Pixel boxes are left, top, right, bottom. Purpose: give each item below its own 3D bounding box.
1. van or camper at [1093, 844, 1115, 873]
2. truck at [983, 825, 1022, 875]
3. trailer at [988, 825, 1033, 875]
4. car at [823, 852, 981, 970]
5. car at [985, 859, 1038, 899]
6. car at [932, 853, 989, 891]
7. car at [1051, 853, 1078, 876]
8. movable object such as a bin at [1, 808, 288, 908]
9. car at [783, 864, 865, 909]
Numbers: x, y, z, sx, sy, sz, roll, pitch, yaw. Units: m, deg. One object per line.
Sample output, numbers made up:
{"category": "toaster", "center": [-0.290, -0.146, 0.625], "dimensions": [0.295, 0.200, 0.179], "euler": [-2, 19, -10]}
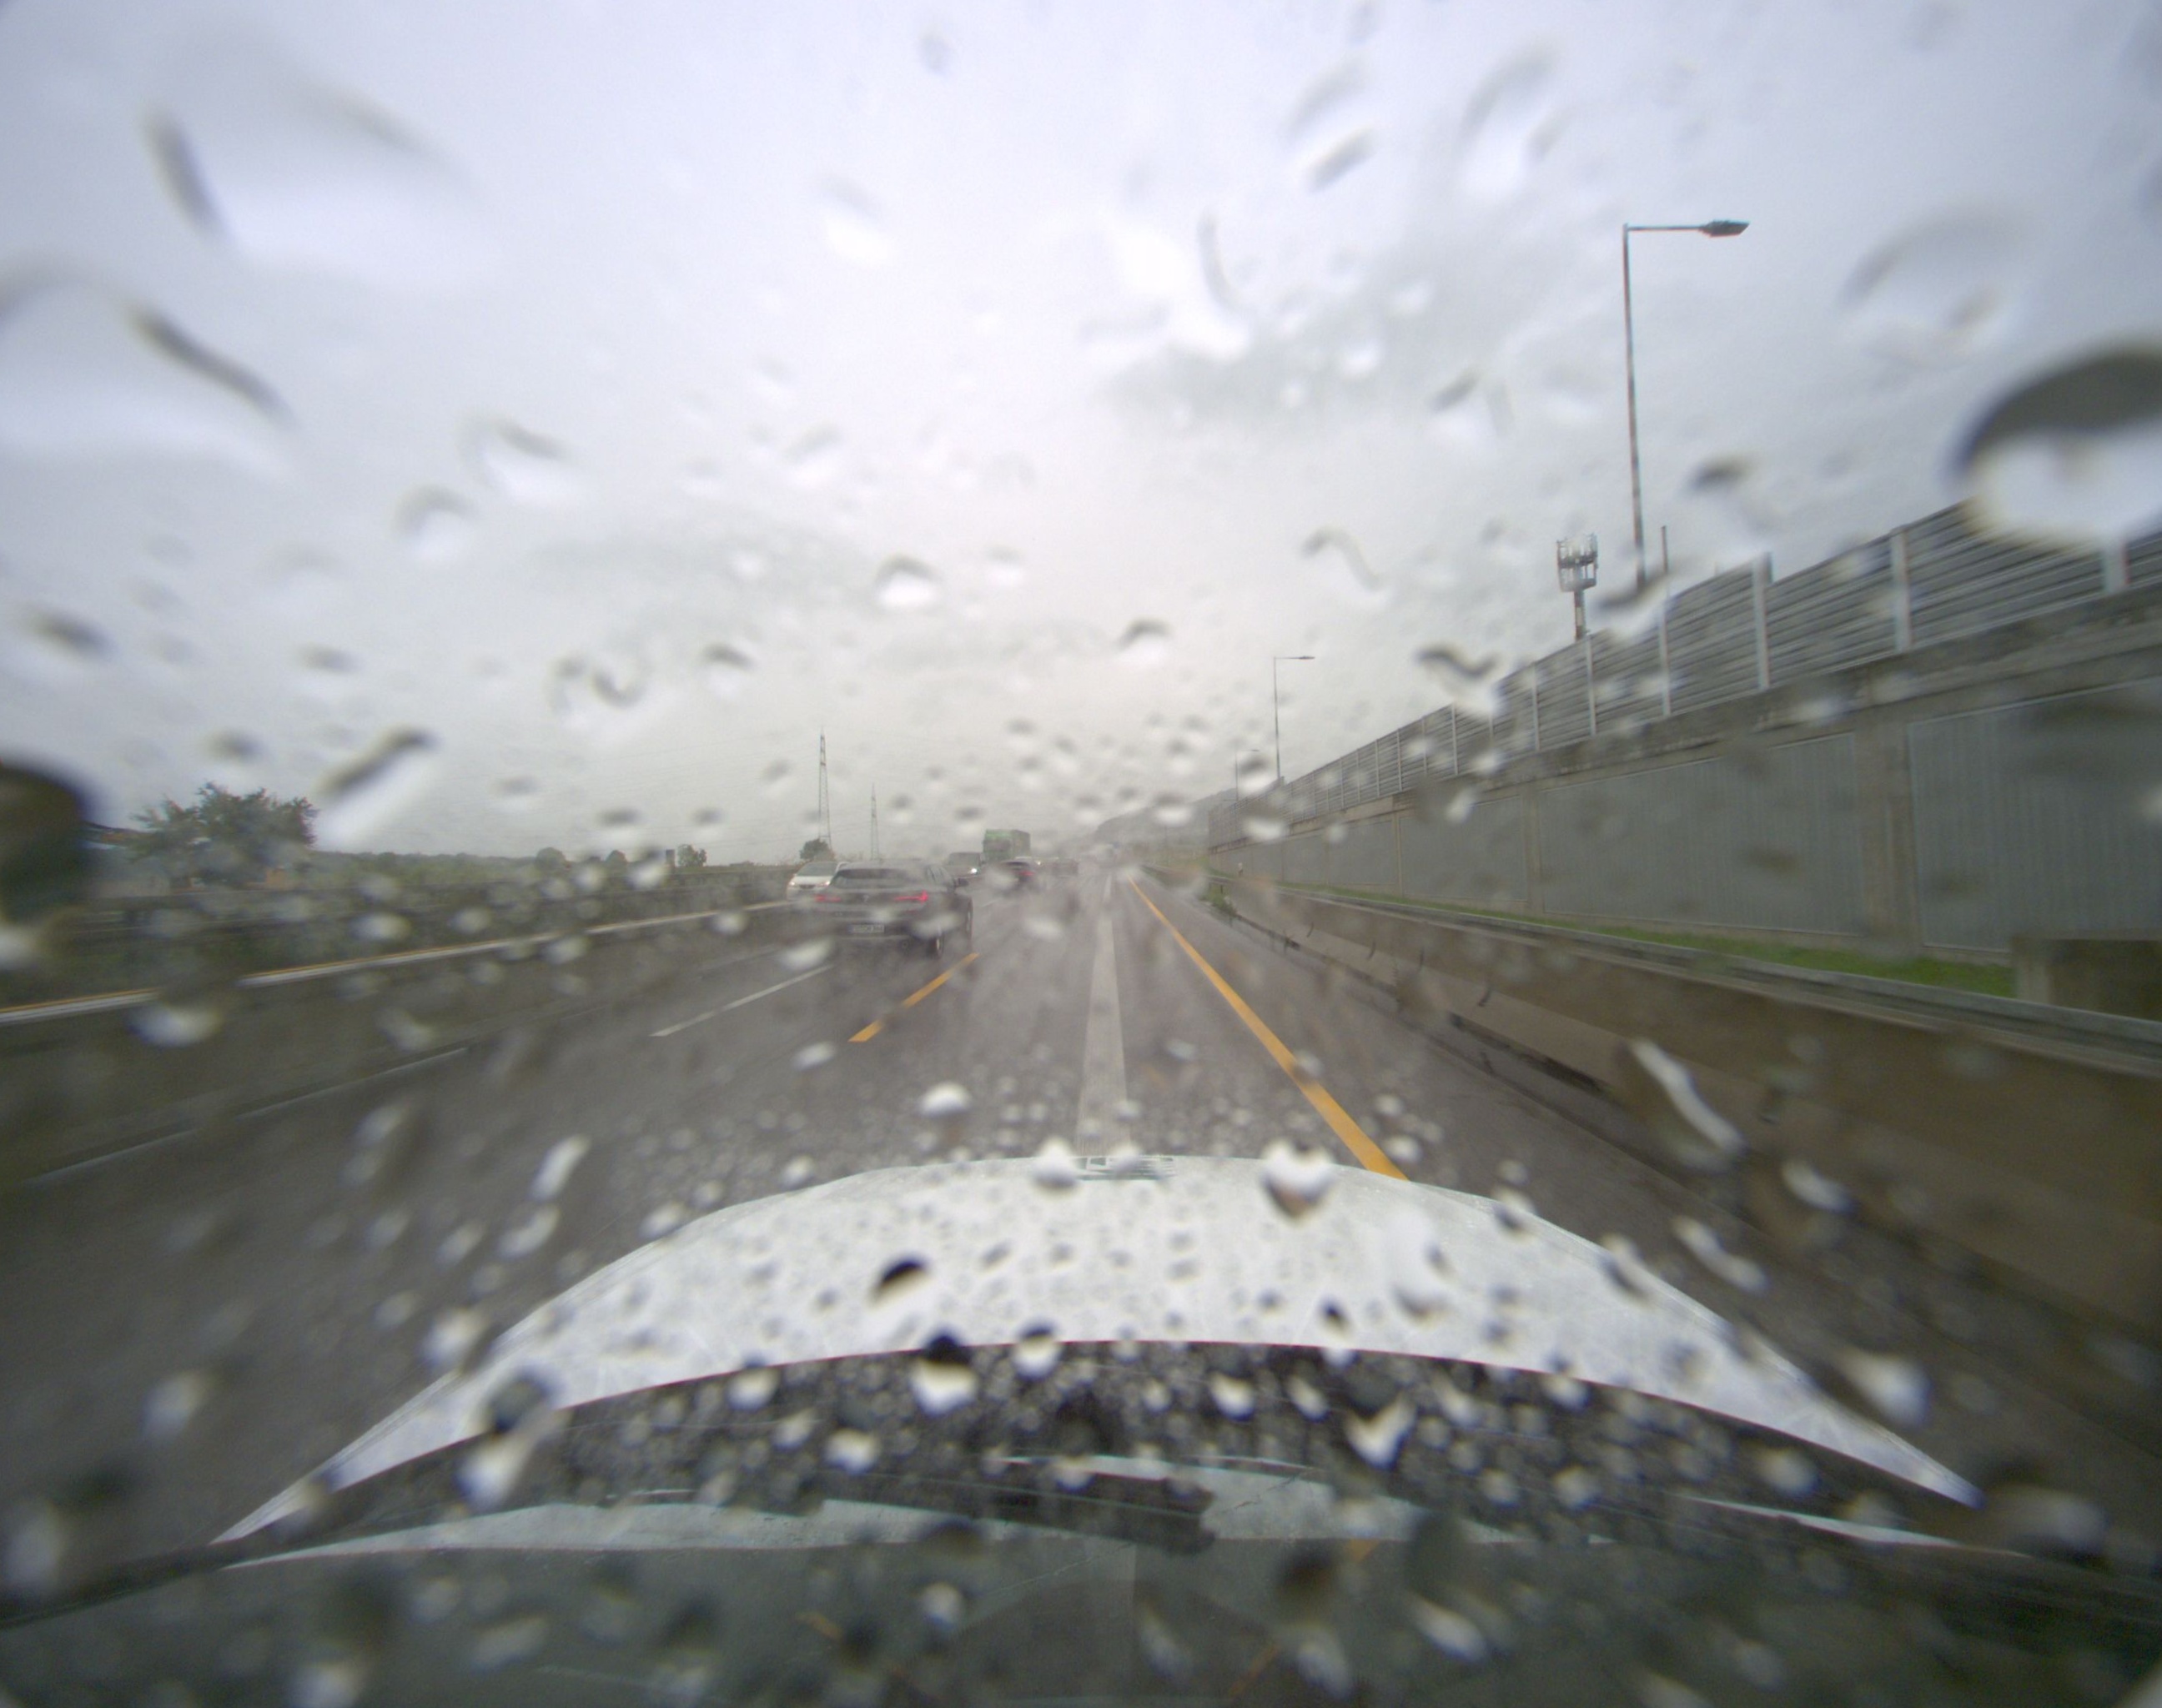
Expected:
{"category": "van or camper", "center": [2.234, 0.508, 79.925], "dimensions": [1.991, 2.778, 4.046], "euler": [0, -2, -2]}
{"category": "truck", "center": [-7.044, -0.339, 73.745], "dimensions": [2.598, 4.388, 6.293], "euler": [-1, 0, 2]}
{"category": "trailer", "center": [-6.763, -0.340, 80.036], "dimensions": [2.571, 4.457, 13.560], "euler": [-1, 0, 2]}
{"category": "car", "center": [-2.766, 0.847, 13.638], "dimensions": [1.696, 1.598, 4.841], "euler": [0, -2, -2]}
{"category": "car", "center": [-2.690, 0.987, 32.313], "dimensions": [1.839, 1.491, 4.258], "euler": [0, -2, -2]}
{"category": "car", "center": [-5.696, 0.817, 38.963], "dimensions": [1.891, 1.687, 4.741], "euler": [-1, 0, 1]}
{"category": "car", "center": [-1.234, 0.735, 59.220], "dimensions": [1.839, 1.491, 4.258], "euler": [-3, 0, -2]}
{"category": "movable object such as a bin", "center": [-40.961, 0.261, 36.267], "dimensions": [2.719, 3.920, 8.465], "euler": [-1, -2, 2]}
{"category": "car", "center": [-9.036, 1.098, 28.956], "dimensions": [1.564, 1.436, 3.894], "euler": [-1, 0, 1]}
